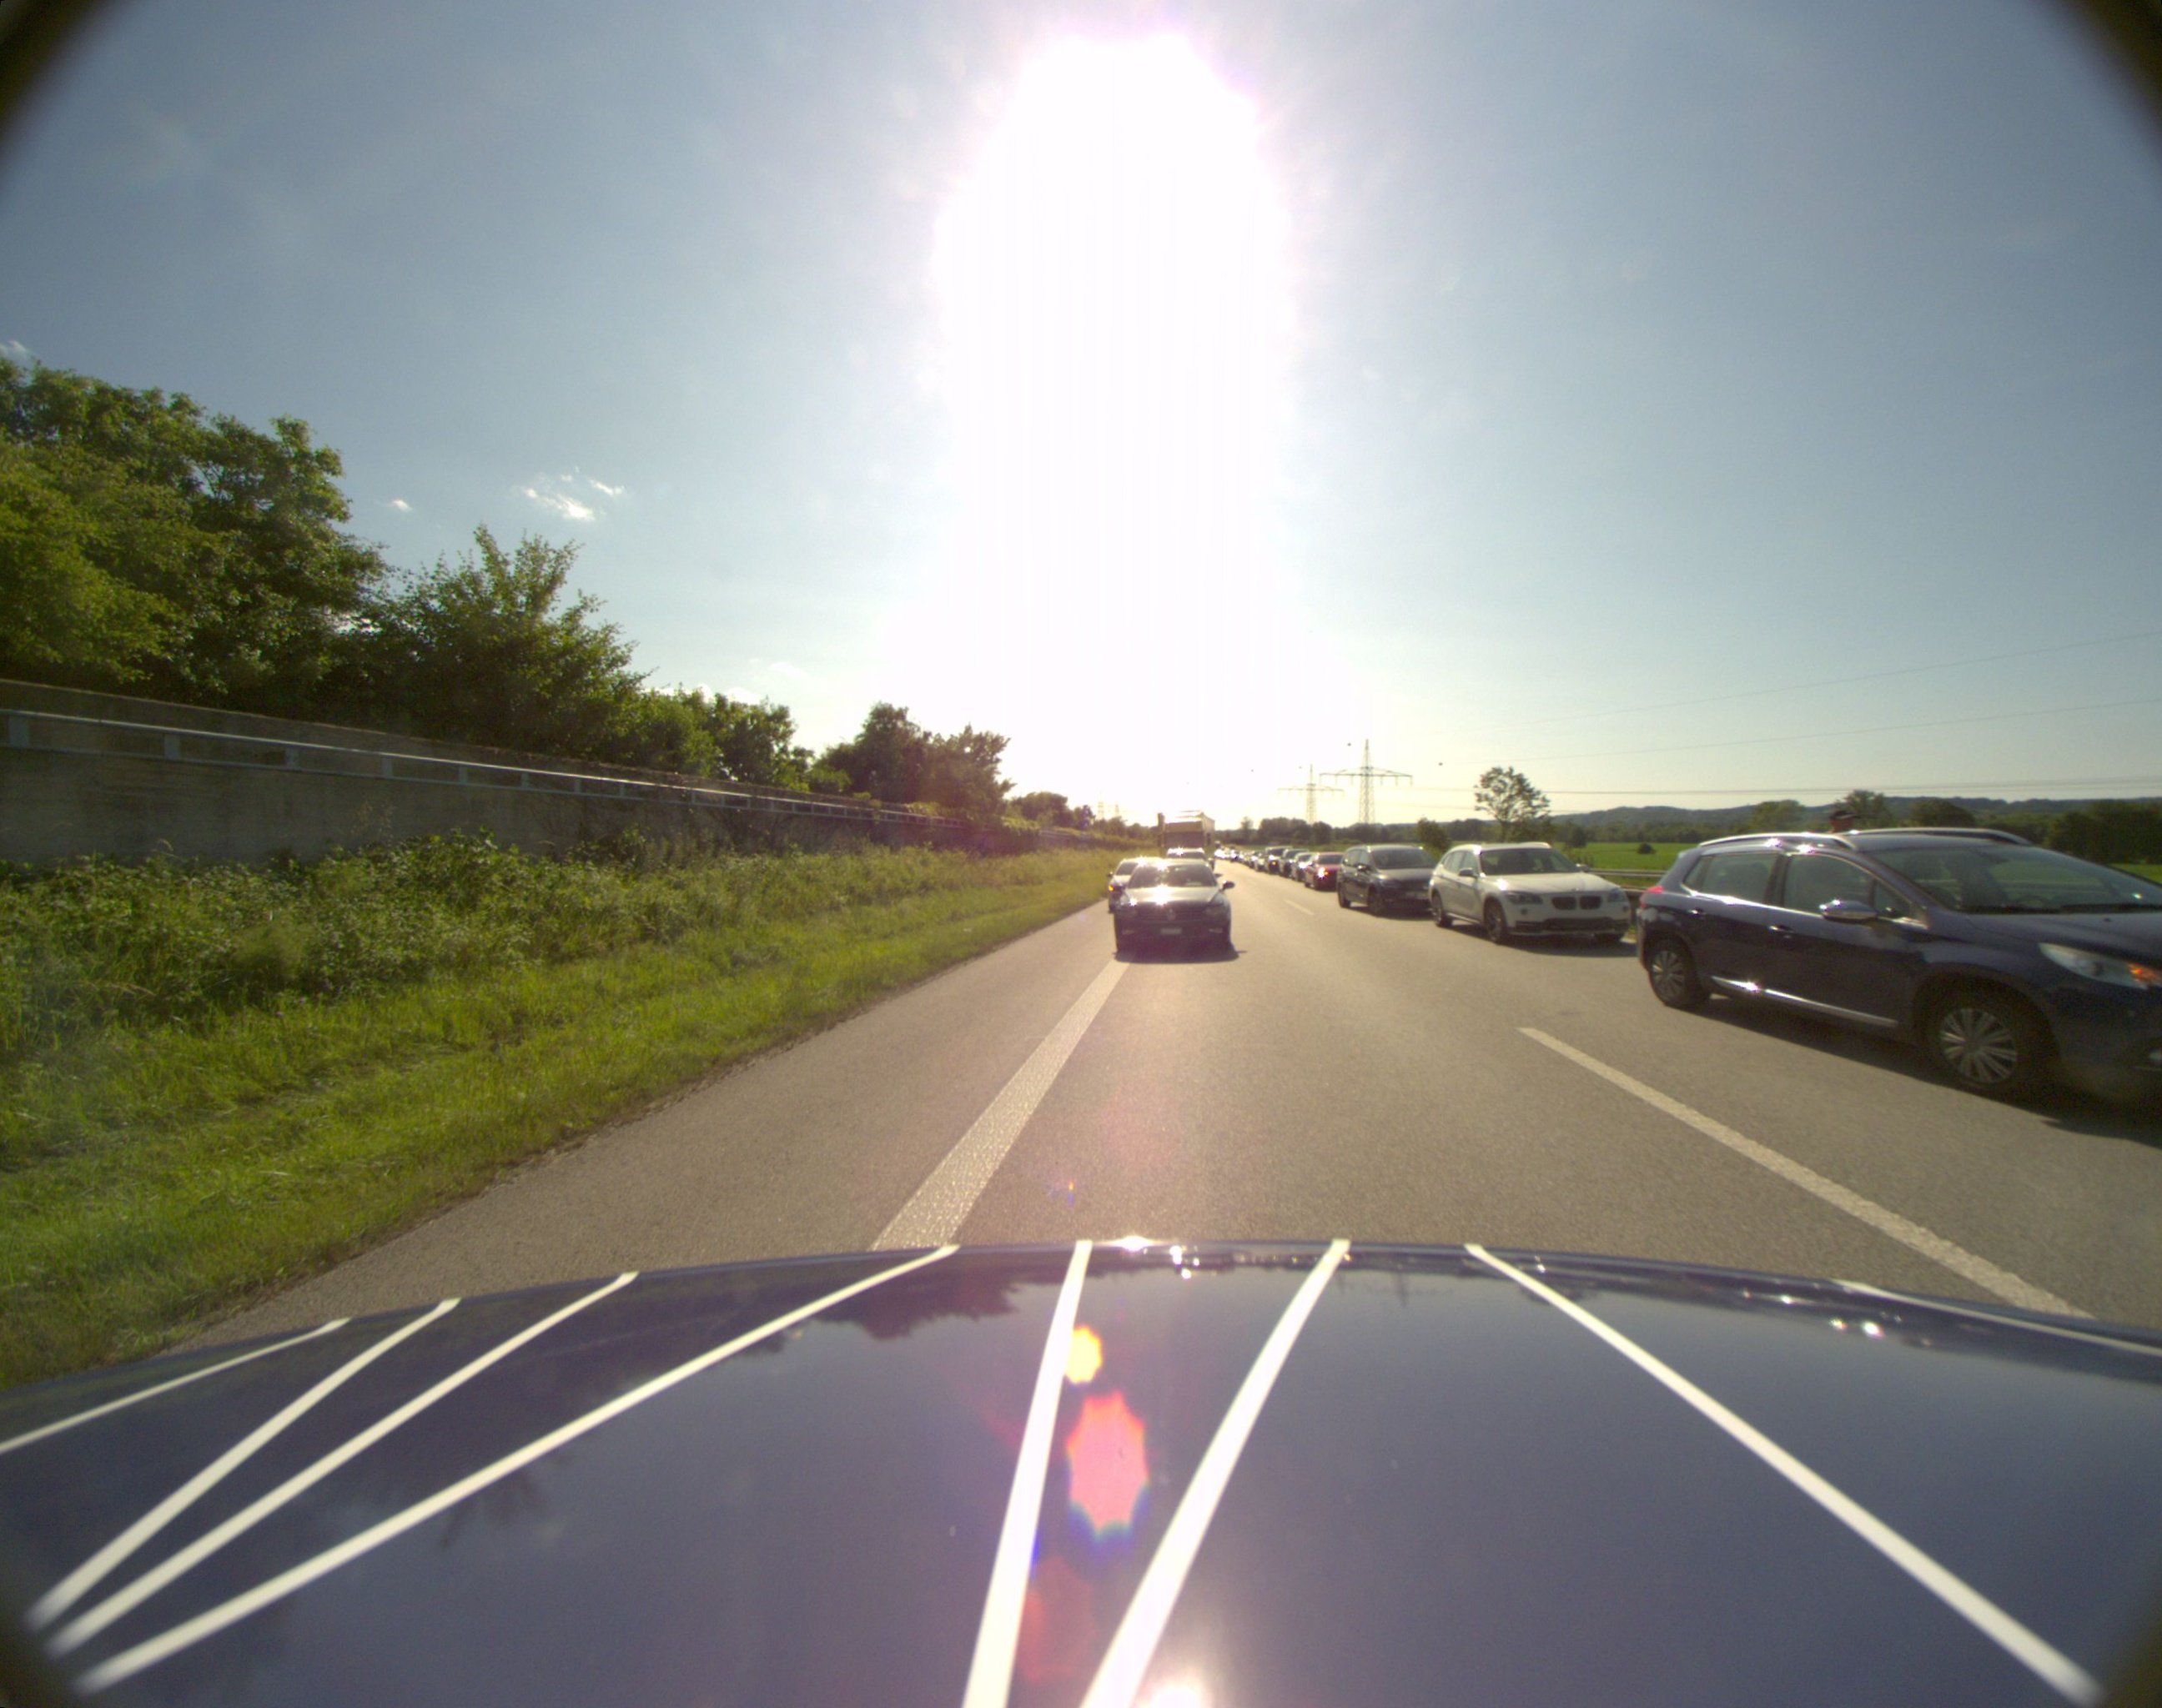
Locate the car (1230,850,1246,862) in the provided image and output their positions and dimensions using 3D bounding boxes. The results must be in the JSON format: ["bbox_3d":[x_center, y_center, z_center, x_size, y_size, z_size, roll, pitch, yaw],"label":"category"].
[{"bbox_3d":[20.261,0.220,98.097,1.818,1.450,4.120,0,0,9],"label":"car"}]

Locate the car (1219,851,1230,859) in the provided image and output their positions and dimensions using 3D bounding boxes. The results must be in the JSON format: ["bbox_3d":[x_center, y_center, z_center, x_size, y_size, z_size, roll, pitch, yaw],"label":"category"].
[{"bbox_3d":[24.891,0.157,132.257,1.818,1.450,4.120,0,0,10],"label":"car"}]

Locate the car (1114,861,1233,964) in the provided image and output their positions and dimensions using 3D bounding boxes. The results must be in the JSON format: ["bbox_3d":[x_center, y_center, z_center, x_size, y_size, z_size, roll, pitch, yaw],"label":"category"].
[{"bbox_3d":[1.693,0.894,13.377,1.715,1.405,4.328,-2,0,9],"label":"car"}]

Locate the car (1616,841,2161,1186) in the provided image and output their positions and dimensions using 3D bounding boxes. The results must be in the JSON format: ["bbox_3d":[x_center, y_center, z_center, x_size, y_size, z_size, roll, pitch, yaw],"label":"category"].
[{"bbox_3d":[5.902,0.714,5.369,1.691,1.526,3.950,-2,0,5],"label":"car"}]

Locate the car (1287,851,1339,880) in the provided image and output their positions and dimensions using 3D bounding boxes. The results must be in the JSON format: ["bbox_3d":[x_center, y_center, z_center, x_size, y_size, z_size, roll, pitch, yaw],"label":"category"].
[{"bbox_3d":[11.689,0.542,38.457,1.894,1.390,4.002,-1,0,8],"label":"car"}]

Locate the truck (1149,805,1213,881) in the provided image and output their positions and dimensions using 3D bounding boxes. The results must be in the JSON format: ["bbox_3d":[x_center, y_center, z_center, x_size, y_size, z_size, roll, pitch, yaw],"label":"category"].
[{"bbox_3d":[6.137,-0.639,45.627,3.331,4.089,6.974,-2,1,10],"label":"truck"}]

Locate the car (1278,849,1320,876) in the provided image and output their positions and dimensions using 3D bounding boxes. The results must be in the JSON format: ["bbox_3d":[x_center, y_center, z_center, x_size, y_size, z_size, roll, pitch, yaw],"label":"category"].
[{"bbox_3d":[12.695,0.467,44.468,1.893,1.447,4.002,-1,0,9],"label":"car"}]

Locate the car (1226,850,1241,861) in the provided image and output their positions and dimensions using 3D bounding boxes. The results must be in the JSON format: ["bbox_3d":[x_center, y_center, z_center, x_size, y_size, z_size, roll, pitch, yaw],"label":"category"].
[{"bbox_3d":[21.338,0.236,106.462,1.818,1.450,4.120,-2,0,9],"label":"car"}]

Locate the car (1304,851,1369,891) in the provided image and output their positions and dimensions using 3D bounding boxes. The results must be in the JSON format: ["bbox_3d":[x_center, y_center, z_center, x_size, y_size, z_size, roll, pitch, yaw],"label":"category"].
[{"bbox_3d":[9.959,0.603,29.911,1.818,1.450,4.120,0,0,10],"label":"car"}]

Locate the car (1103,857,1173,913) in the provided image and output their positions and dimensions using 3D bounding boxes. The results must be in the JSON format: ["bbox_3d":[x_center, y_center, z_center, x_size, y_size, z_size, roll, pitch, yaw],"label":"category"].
[{"bbox_3d":[1.796,0.862,22.705,1.715,1.417,4.328,-2,0,9],"label":"car"}]

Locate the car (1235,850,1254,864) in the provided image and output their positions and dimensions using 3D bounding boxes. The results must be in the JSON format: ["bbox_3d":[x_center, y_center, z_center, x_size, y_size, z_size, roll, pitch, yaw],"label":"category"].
[{"bbox_3d":[17.430,0.315,81.031,1.818,1.450,4.120,-2,0,10],"label":"car"}]

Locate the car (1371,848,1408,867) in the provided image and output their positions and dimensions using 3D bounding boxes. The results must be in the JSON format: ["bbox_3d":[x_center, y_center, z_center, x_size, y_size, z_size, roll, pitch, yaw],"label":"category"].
[{"bbox_3d":[24.801,0.284,61.233,1.715,1.417,4.409,-2,0,9],"label":"car"}]

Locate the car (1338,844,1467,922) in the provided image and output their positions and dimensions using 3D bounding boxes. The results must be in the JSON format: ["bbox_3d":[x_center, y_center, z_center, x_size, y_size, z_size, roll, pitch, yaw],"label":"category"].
[{"bbox_3d":[7.575,0.609,18.317,1.818,1.606,4.119,-2,0,8],"label":"car"}]

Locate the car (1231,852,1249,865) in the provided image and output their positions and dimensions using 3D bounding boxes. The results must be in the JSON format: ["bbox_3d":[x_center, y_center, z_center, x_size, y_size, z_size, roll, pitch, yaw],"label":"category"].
[{"bbox_3d":[18.334,0.494,87.567,1.818,1.450,4.120,0,0,9],"label":"car"}]

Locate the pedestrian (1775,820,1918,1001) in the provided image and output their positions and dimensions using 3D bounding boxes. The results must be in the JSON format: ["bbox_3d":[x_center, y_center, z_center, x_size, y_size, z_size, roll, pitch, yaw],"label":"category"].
[{"bbox_3d":[7.772,0.548,7.756,0.672,1.740,0.815,0,1,8],"label":"pedestrian"}]

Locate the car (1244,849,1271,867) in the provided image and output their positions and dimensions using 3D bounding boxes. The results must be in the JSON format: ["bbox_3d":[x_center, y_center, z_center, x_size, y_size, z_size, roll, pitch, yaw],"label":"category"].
[{"bbox_3d":[15.646,0.299,67.636,1.997,1.522,4.002,-1,0,8],"label":"car"}]

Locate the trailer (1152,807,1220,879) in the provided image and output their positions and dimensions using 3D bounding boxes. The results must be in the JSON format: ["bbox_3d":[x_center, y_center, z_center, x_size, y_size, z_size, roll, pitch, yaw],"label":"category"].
[{"bbox_3d":[7.438,-0.747,51.601,3.385,4.089,13.963,-2,1,12],"label":"trailer"}]

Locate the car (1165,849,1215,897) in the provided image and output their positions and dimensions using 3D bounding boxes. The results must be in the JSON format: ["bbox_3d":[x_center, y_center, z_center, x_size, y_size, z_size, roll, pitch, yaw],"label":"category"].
[{"bbox_3d":[4.168,0.666,28.886,1.715,1.614,4.328,-2,0,9],"label":"car"}]

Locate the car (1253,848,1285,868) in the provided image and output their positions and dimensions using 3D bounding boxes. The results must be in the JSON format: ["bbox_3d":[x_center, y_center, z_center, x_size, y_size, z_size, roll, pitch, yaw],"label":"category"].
[{"bbox_3d":[14.398,0.276,58.420,1.997,1.522,4.002,-1,0,8],"label":"car"}]

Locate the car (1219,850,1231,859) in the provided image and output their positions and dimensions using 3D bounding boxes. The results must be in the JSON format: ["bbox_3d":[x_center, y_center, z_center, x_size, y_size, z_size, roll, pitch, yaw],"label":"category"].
[{"bbox_3d":[24.046,0.016,126.669,1.818,1.450,4.120,-2,0,10],"label":"car"}]

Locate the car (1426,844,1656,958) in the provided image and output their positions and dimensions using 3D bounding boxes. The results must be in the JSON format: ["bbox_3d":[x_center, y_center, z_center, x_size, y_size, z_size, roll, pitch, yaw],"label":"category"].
[{"bbox_3d":[7.306,0.649,12.617,1.831,1.564,4.166,-1,0,9],"label":"car"}]

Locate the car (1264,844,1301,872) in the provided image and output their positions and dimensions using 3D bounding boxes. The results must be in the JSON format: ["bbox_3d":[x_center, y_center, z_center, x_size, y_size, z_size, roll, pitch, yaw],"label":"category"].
[{"bbox_3d":[13.554,0.258,51.289,1.901,1.777,4.202,0,0,8],"label":"car"}]
